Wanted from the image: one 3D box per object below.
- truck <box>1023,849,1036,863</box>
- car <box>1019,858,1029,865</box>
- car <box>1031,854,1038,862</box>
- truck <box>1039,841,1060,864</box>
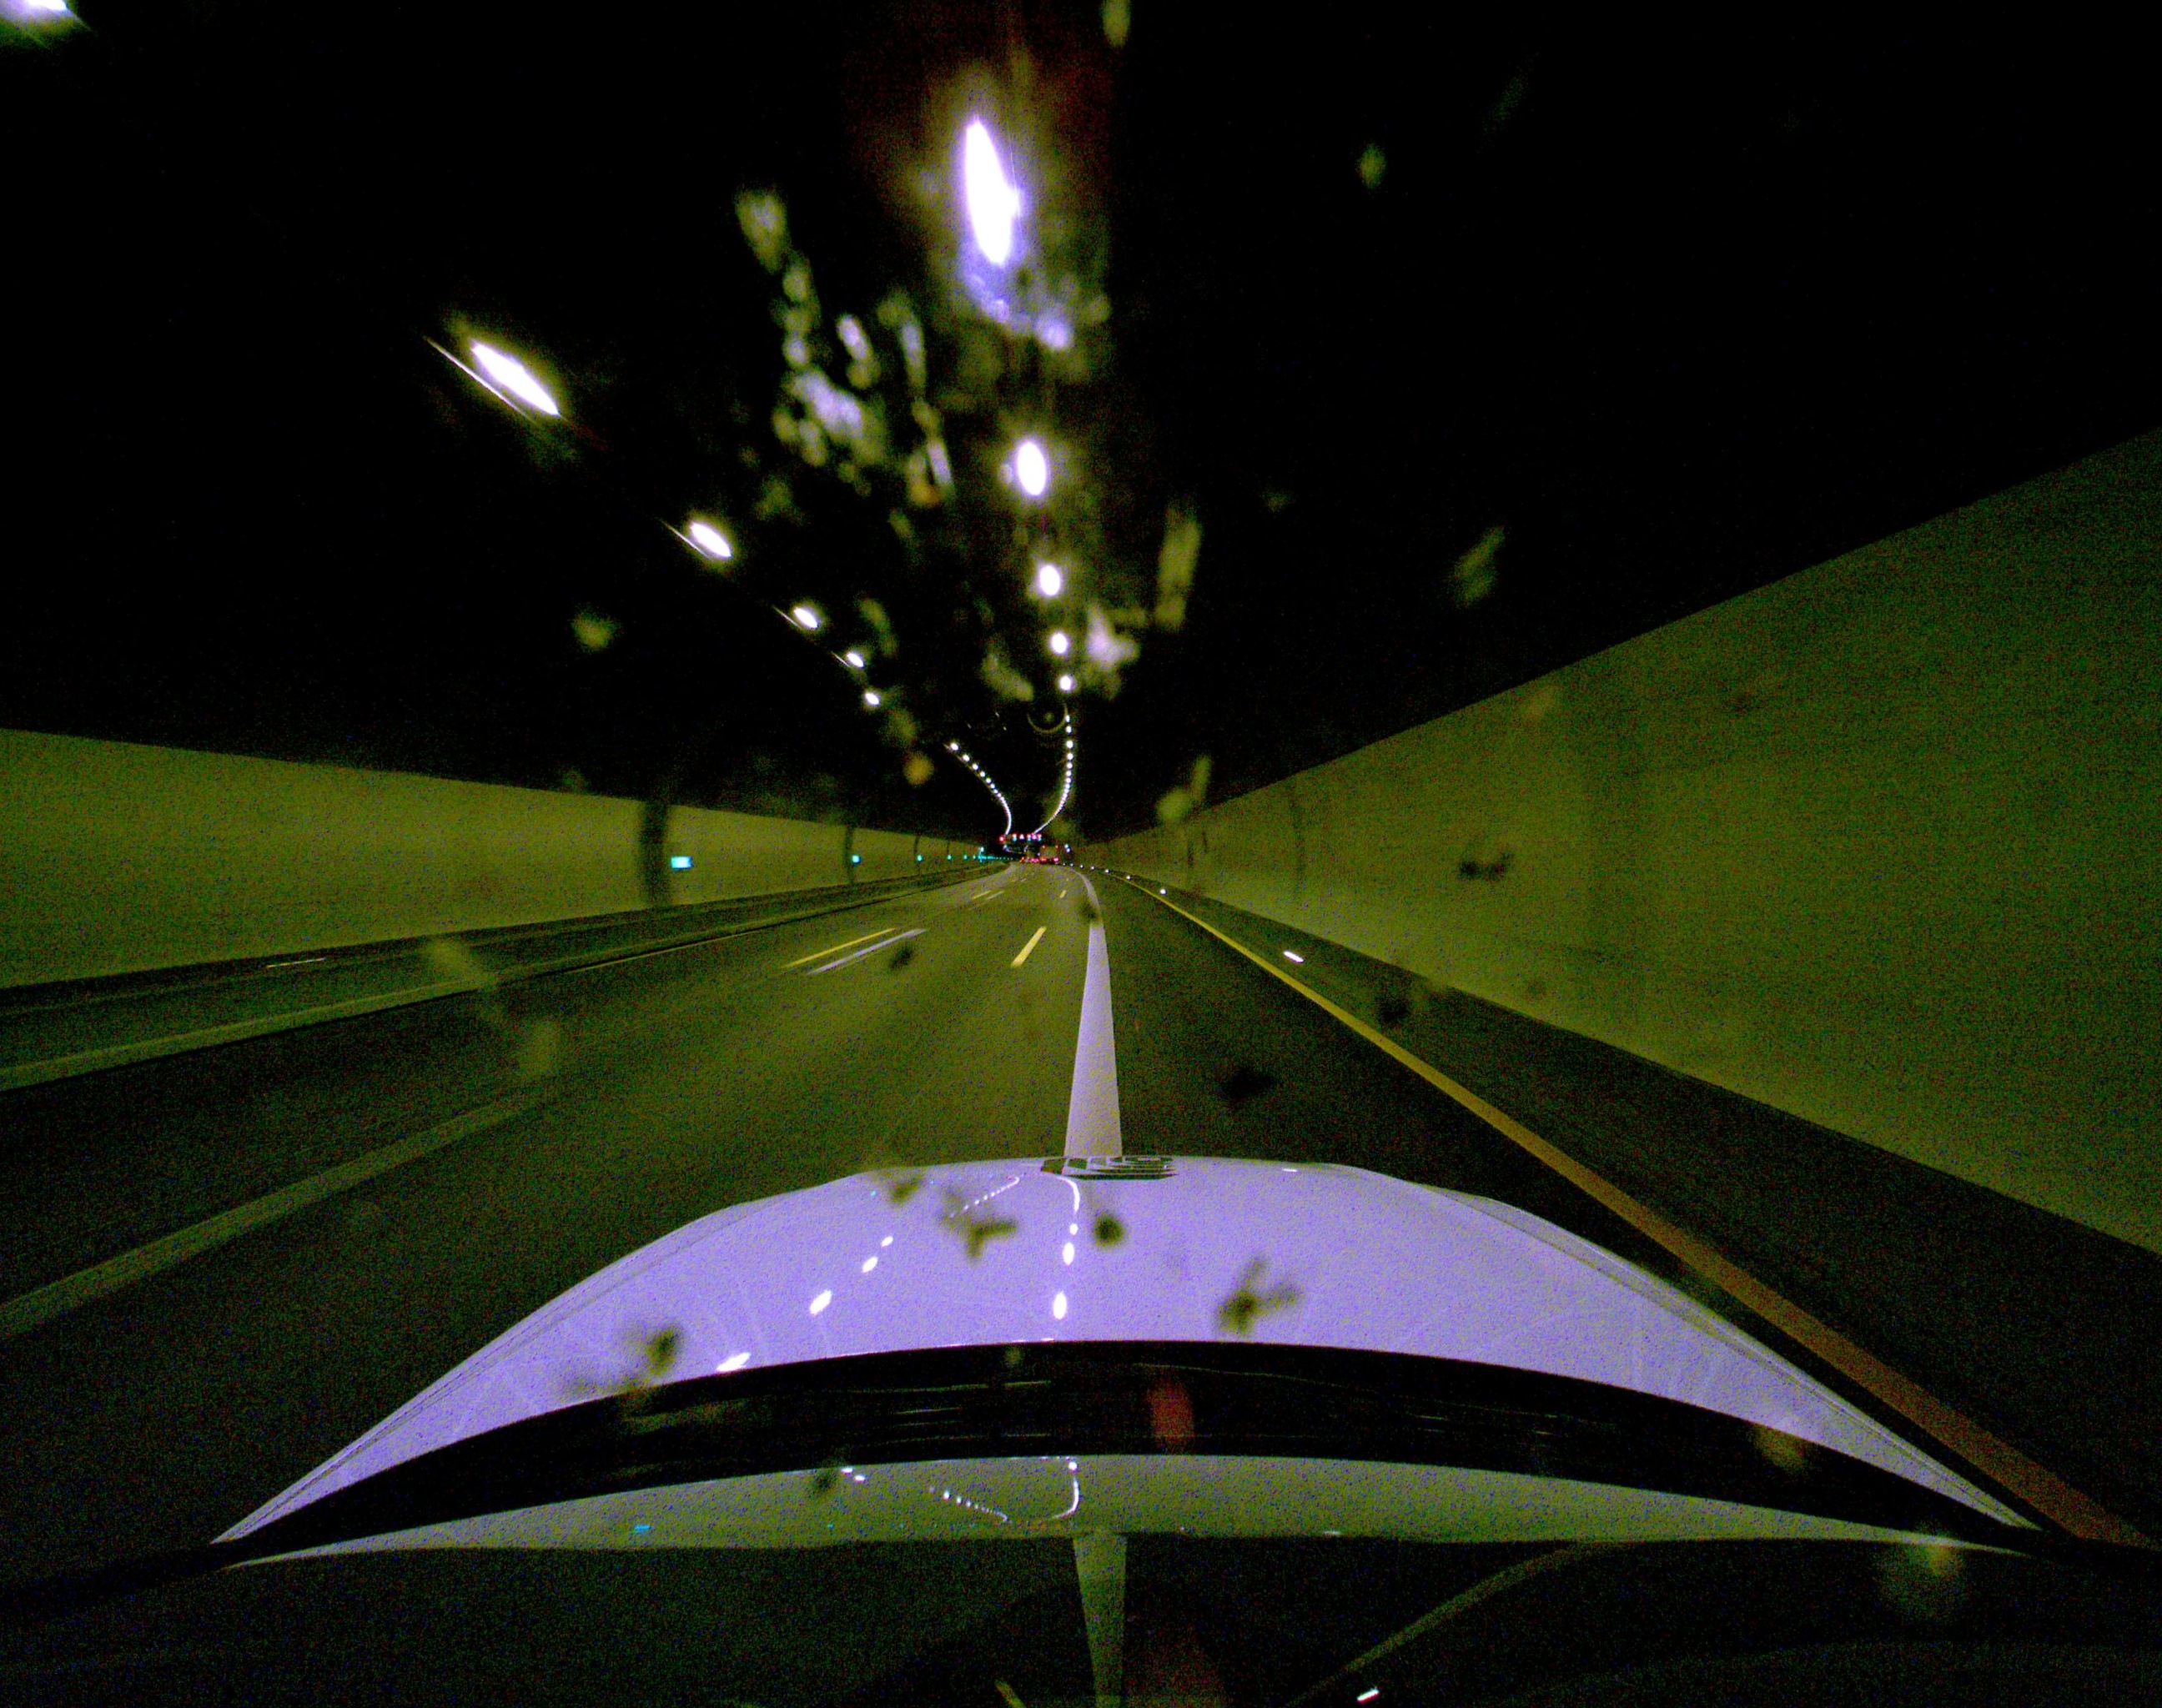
[{"bbox_3d":[-16.422,0.721,258.138,3.470,4.316,10.928,0,0,-6],"label":"truck"},{"bbox_3d":[-13.126,1.686,186.910,1.991,1.582,3.991,1,0,-7],"label":"car"},{"bbox_3d":[-12.425,1.072,217.824,1.990,2.013,3.994,0,0,-4],"label":"car"},{"bbox_3d":[-6.222,-0.384,159.219,3.470,4.316,10.928,0,0,-6],"label":"truck"}]
